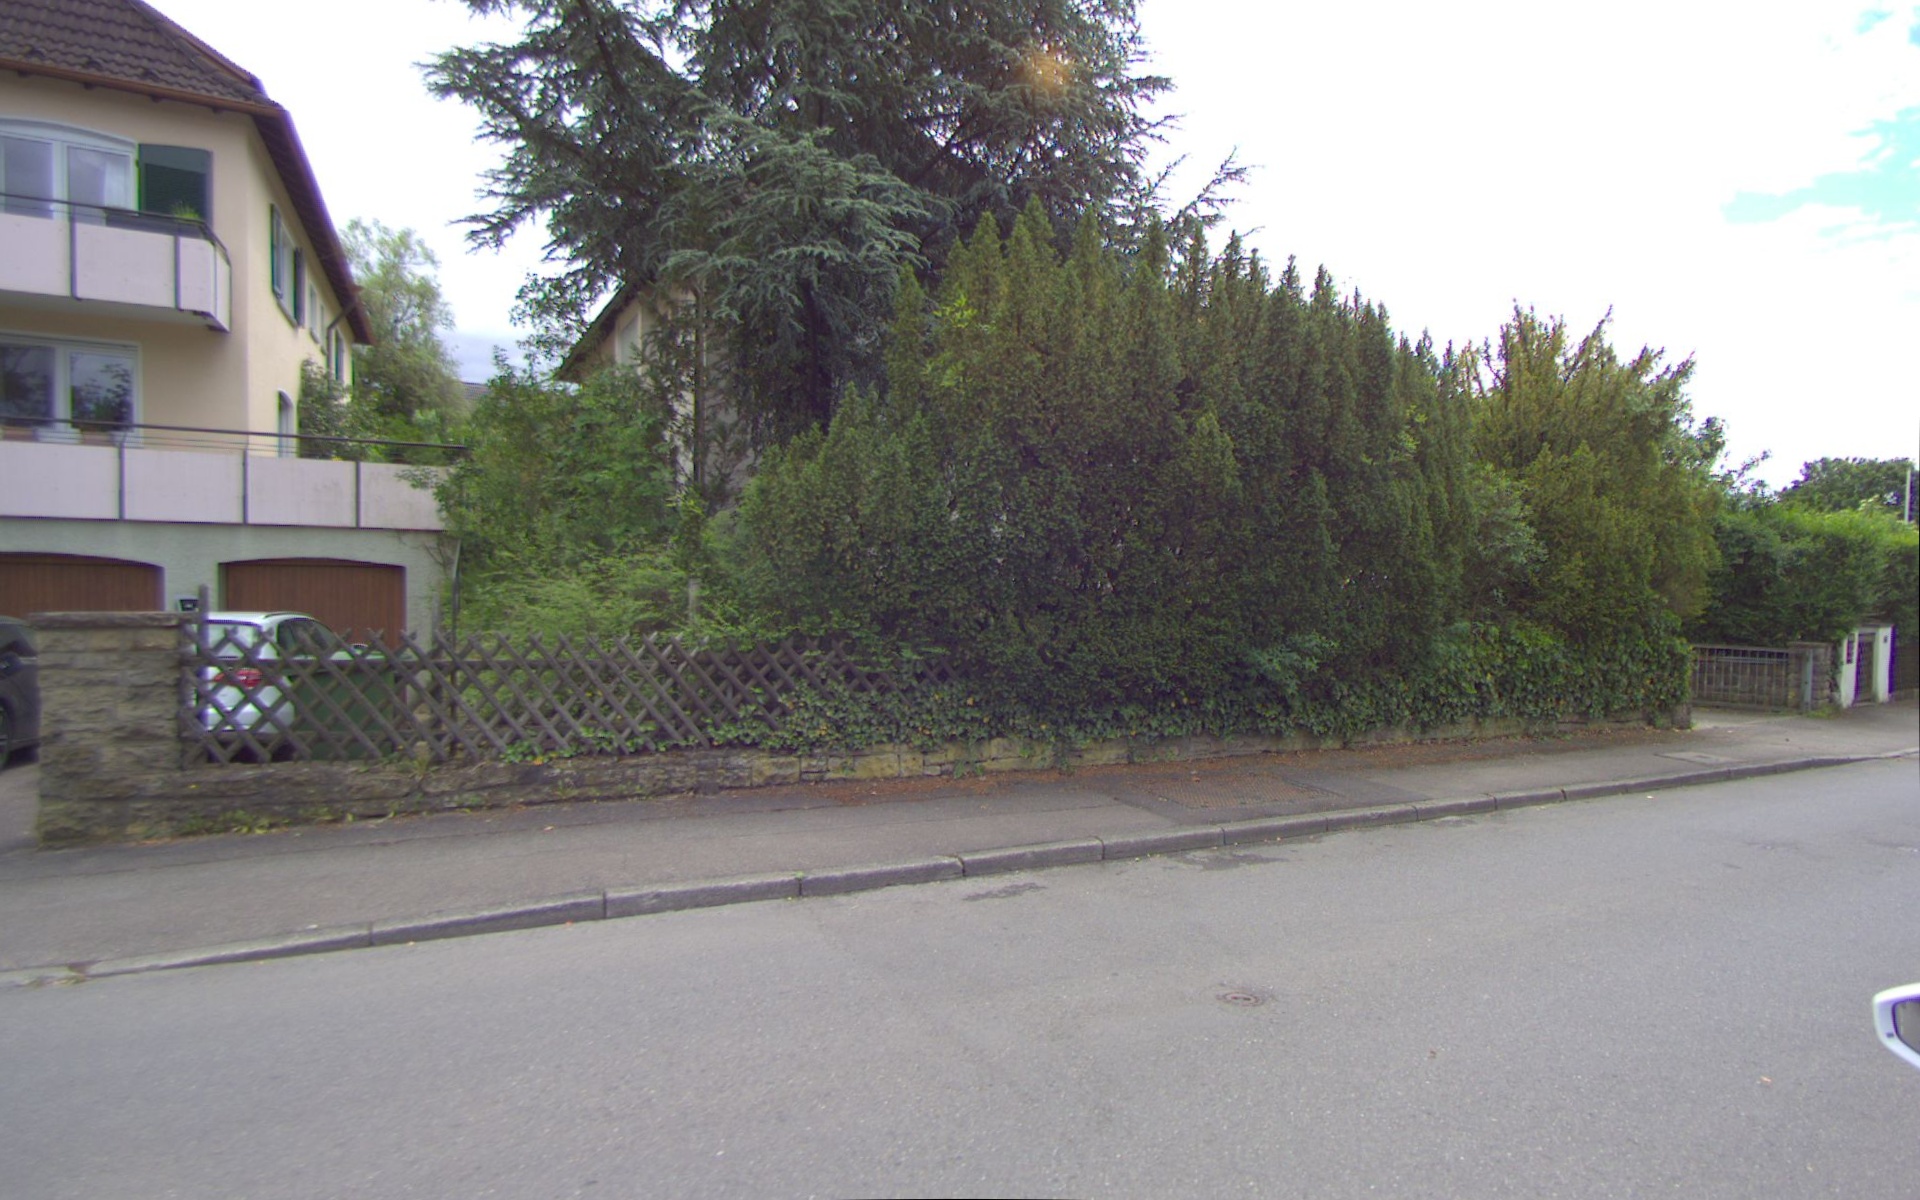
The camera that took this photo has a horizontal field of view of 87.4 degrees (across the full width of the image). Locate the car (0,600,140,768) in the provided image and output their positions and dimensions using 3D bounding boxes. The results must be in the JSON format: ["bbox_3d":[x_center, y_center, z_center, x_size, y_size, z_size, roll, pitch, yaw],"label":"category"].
[{"bbox_3d":[-9.491,0.752,9.369,1.802,1.439,3.547,0,-2,-21],"label":"car"}]

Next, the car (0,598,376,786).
[{"bbox_3d":[-7.190,0.757,9.850,1.893,1.439,3.873,0,-2,-21],"label":"car"}]
